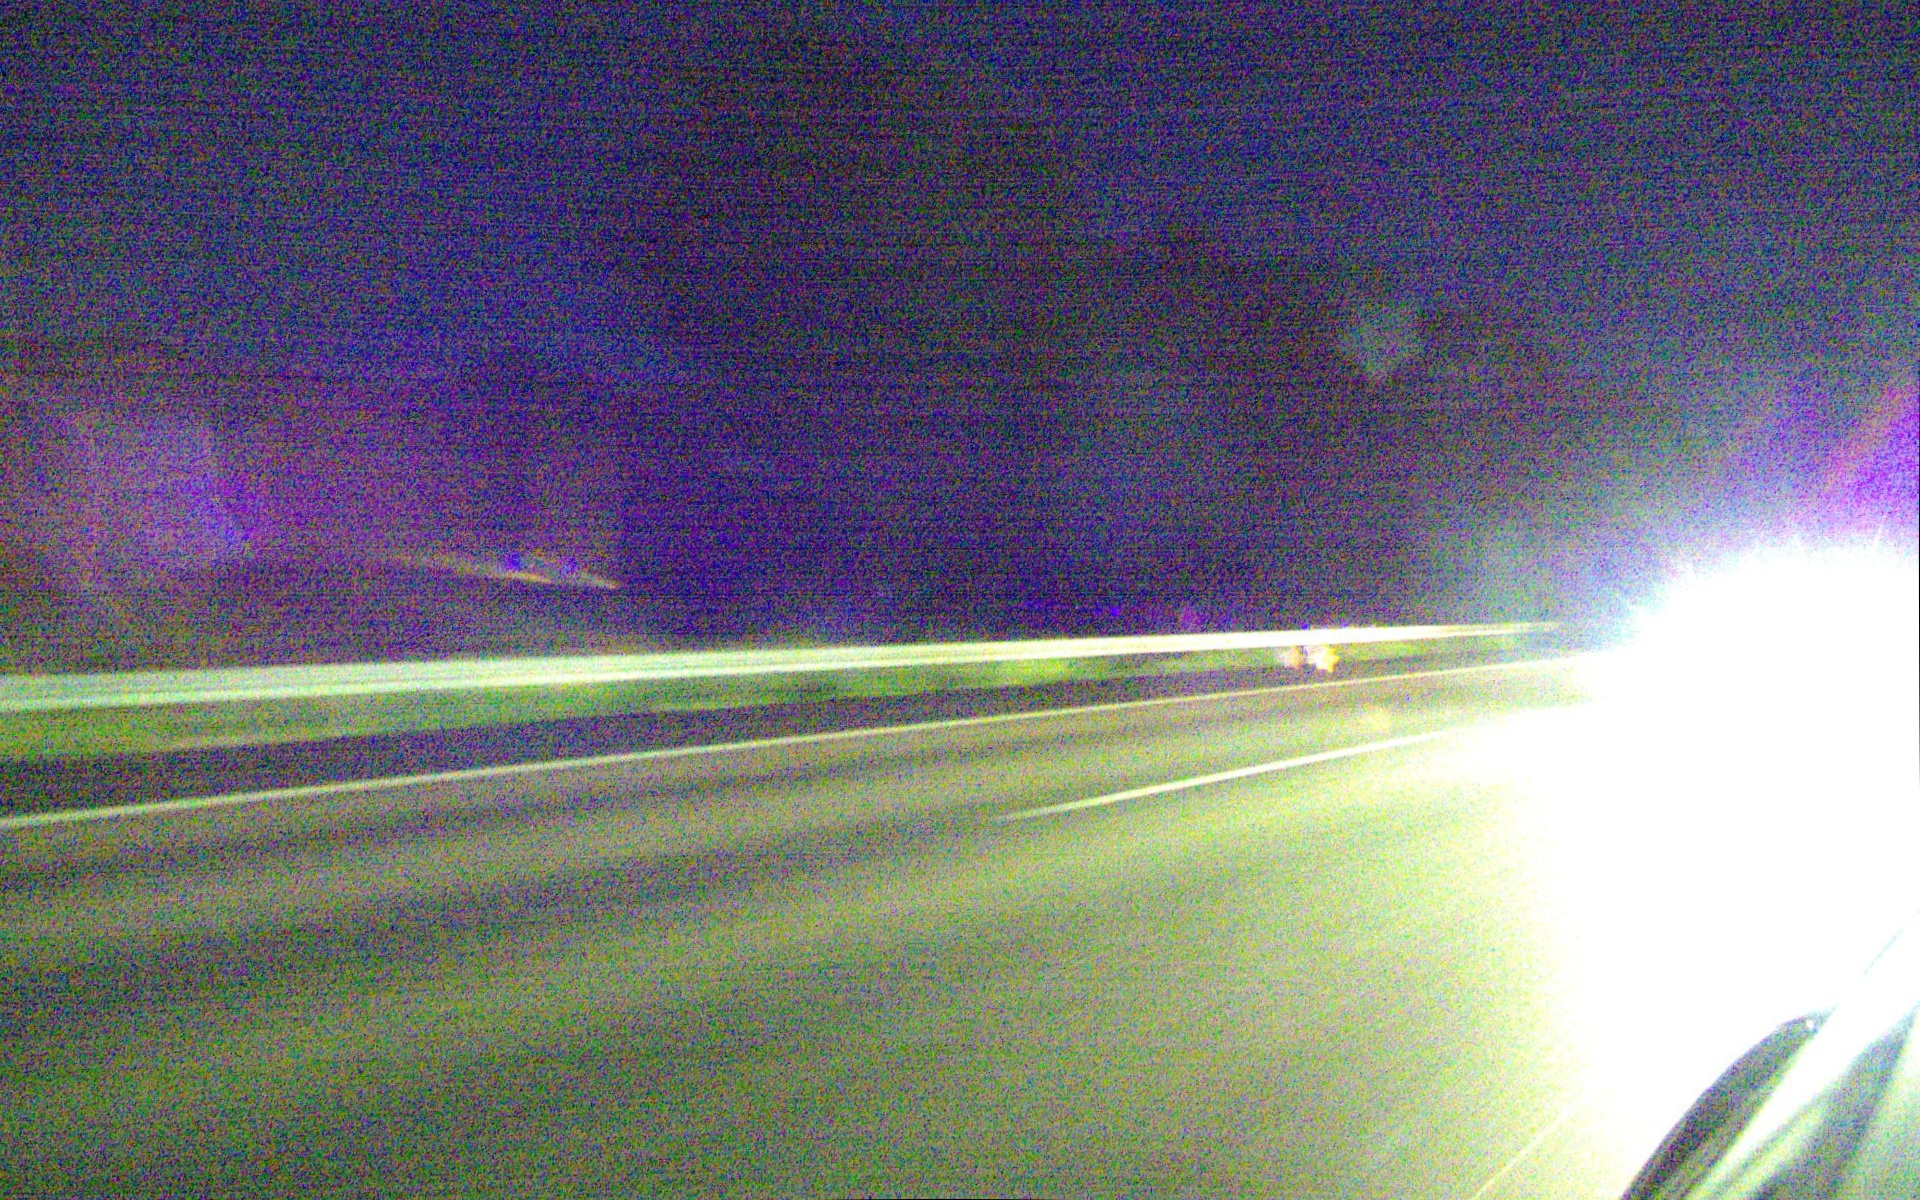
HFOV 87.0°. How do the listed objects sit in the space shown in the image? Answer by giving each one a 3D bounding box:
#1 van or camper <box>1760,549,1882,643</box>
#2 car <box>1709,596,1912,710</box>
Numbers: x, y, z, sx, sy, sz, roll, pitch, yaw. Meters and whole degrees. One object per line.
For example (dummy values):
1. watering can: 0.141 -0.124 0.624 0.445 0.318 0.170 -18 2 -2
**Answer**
1. van or camper: 28.402 -0.120 33.278 6.687 2.806 2.210 0 0 -42
2. car: 12.670 0.699 14.988 4.151 1.431 1.689 1 0 -41
